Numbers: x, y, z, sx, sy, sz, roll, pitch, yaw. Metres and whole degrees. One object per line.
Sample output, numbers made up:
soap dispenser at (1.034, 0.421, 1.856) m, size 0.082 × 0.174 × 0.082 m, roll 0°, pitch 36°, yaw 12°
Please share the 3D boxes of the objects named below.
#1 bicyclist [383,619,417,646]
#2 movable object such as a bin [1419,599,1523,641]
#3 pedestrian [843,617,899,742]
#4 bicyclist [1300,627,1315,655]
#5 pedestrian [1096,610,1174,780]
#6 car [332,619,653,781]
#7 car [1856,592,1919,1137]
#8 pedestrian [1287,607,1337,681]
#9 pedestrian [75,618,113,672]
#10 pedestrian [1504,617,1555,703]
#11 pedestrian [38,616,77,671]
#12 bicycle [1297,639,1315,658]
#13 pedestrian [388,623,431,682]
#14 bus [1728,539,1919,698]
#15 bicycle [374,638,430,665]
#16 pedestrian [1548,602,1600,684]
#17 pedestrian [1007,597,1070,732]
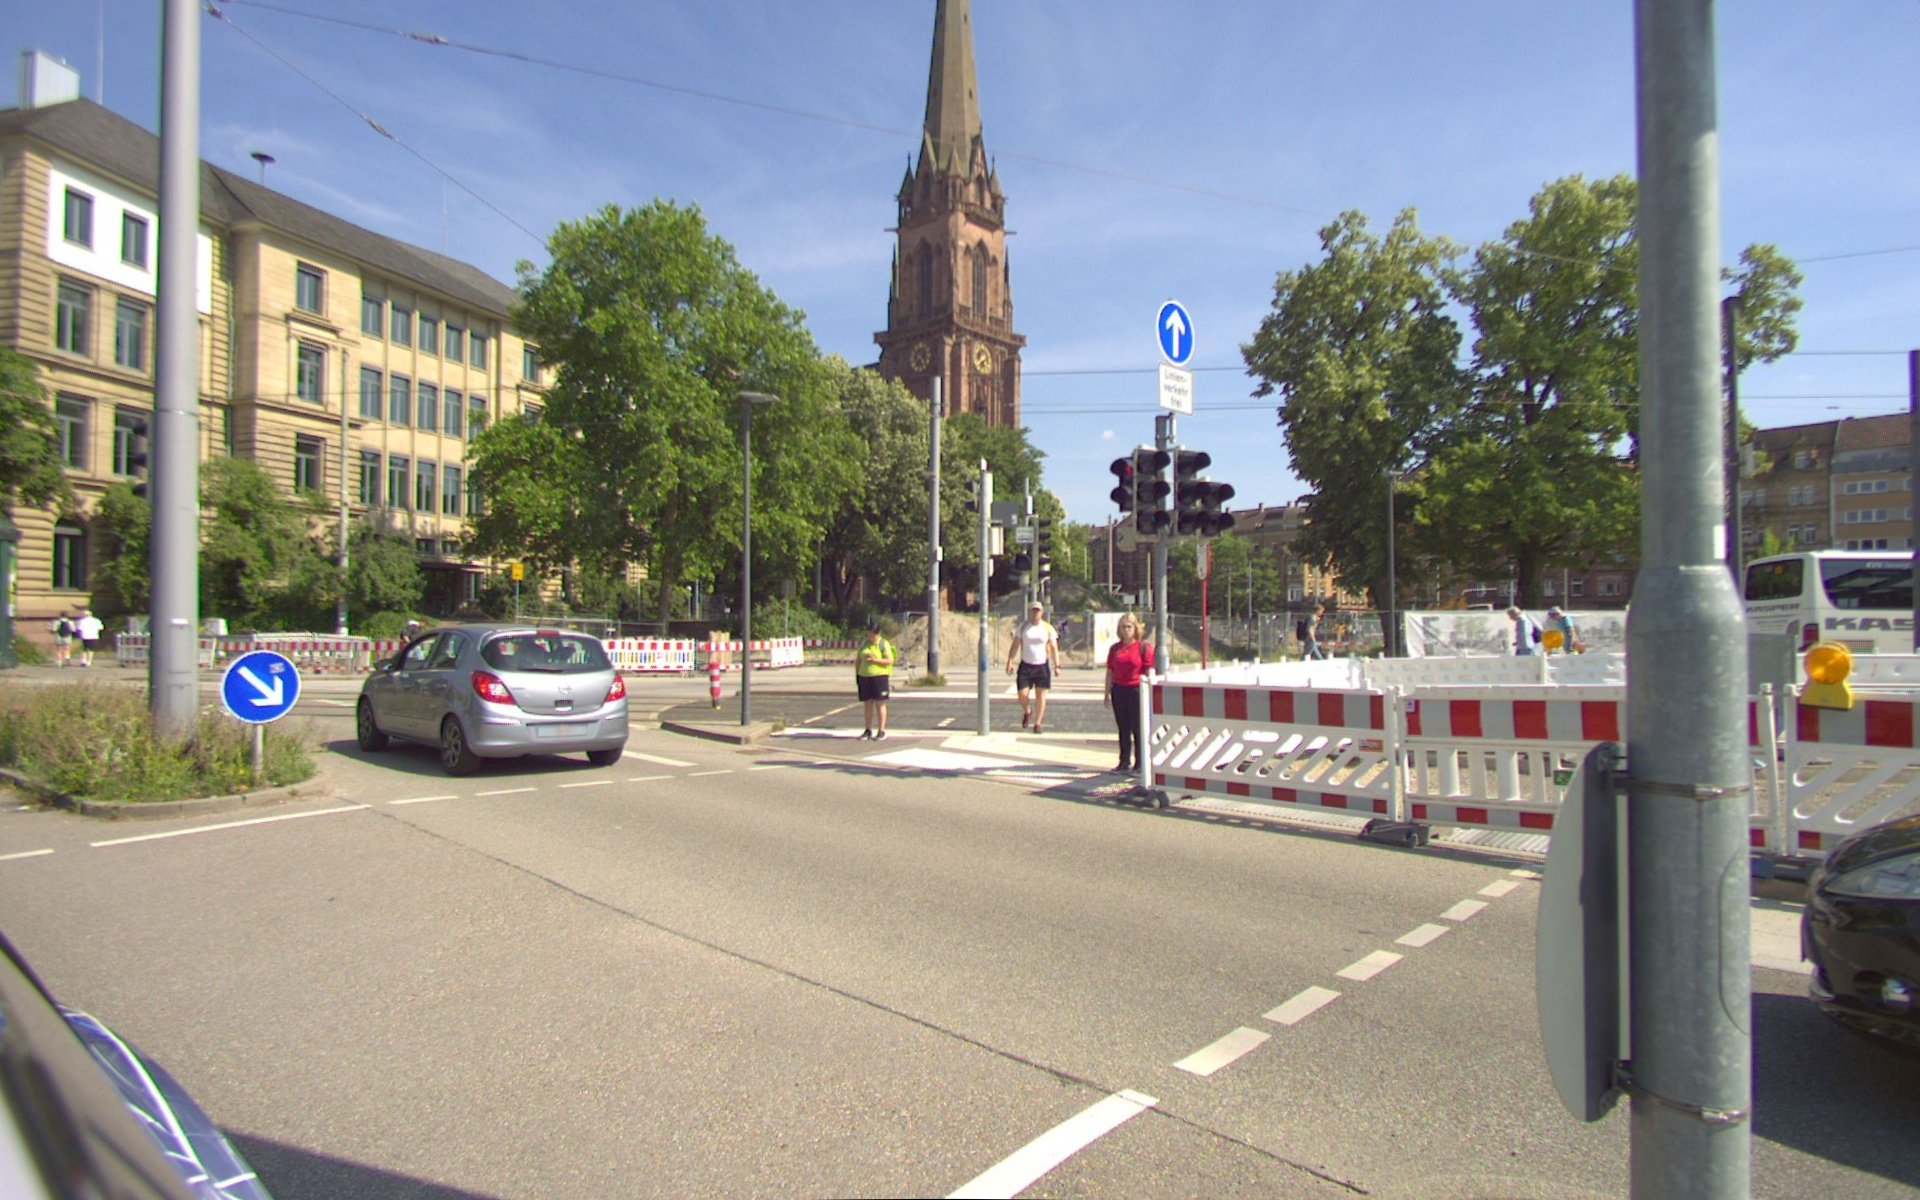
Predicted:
bicyclist at (-20.265, 1.174, 36.635) m, size 0.858 × 0.934 × 0.682 m, roll 0°, pitch -2°, yaw 4°
movable object such as a bin at (37.976, 1.508, 75.361) m, size 6.545 × 3.032 × 2.550 m, roll -1°, pitch -2°, yaw 38°
pedestrian at (-1.148, 1.014, 13.090) m, size 0.658 × 1.555 × 0.424 m, roll -2°, pitch 0°, yaw -3°
bicyclist at (17.318, 2.044, 50.428) m, size 0.615 × 1.370 × 1.165 m, roll -1°, pitch -2°, yaw 22°
pedestrian at (1.729, 0.917, 10.045) m, size 0.686 × 1.628 × 0.345 m, roll -2°, pitch -3°, yaw 44°
car at (-5.177, 0.959, 10.965) m, size 4.001 × 1.422 × 1.774 m, roll -2°, pitch -4°, yaw 44°
car at (4.455, 0.714, 2.100) m, size 3.818 × 1.462 × 1.648 m, roll -2°, pitch -4°, yaw 44°
pedestrian at (8.370, 1.050, 24.084) m, size 0.922 × 1.726 × 0.558 m, roll -1°, pitch -2°, yaw -3°
pedestrian at (-28.567, 1.494, 33.409) m, size 0.732 × 1.763 × 0.586 m, roll 1°, pitch -2°, yaw -15°
pedestrian at (11.094, 1.153, 19.726) m, size 0.790 × 1.628 × 0.656 m, roll -2°, pitch -2°, yaw 27°
pedestrian at (-29.117, 1.388, 32.655) m, size 0.732 × 1.763 × 0.586 m, roll 1°, pitch -2°, yaw -19°
bicycle at (17.267, 2.413, 50.455) m, size 0.757 × 0.930 × 2.055 m, roll -1°, pitch -2°, yaw 22°
pedestrian at (-15.935, 1.498, 29.306) m, size 0.925 × 1.668 × 0.846 m, roll 2°, pitch -2°, yaw -39°
bus at (25.405, 0.446, 23.157) m, size 12.511 × 3.516 × 2.855 m, roll 0°, pitch -2°, yaw 8°
bicycle at (-20.172, 1.864, 36.605) m, size 1.644 × 0.954 × 0.701 m, roll 0°, pitch -2°, yaw 4°
pedestrian at (12.422, 0.862, 20.499) m, size 0.578 × 1.628 × 0.689 m, roll -1°, pitch -2°, yaw 1°
pedestrian at (1.083, 0.880, 14.015) m, size 0.830 × 1.826 × 0.649 m, roll -1°, pitch -2°, yaw 4°
